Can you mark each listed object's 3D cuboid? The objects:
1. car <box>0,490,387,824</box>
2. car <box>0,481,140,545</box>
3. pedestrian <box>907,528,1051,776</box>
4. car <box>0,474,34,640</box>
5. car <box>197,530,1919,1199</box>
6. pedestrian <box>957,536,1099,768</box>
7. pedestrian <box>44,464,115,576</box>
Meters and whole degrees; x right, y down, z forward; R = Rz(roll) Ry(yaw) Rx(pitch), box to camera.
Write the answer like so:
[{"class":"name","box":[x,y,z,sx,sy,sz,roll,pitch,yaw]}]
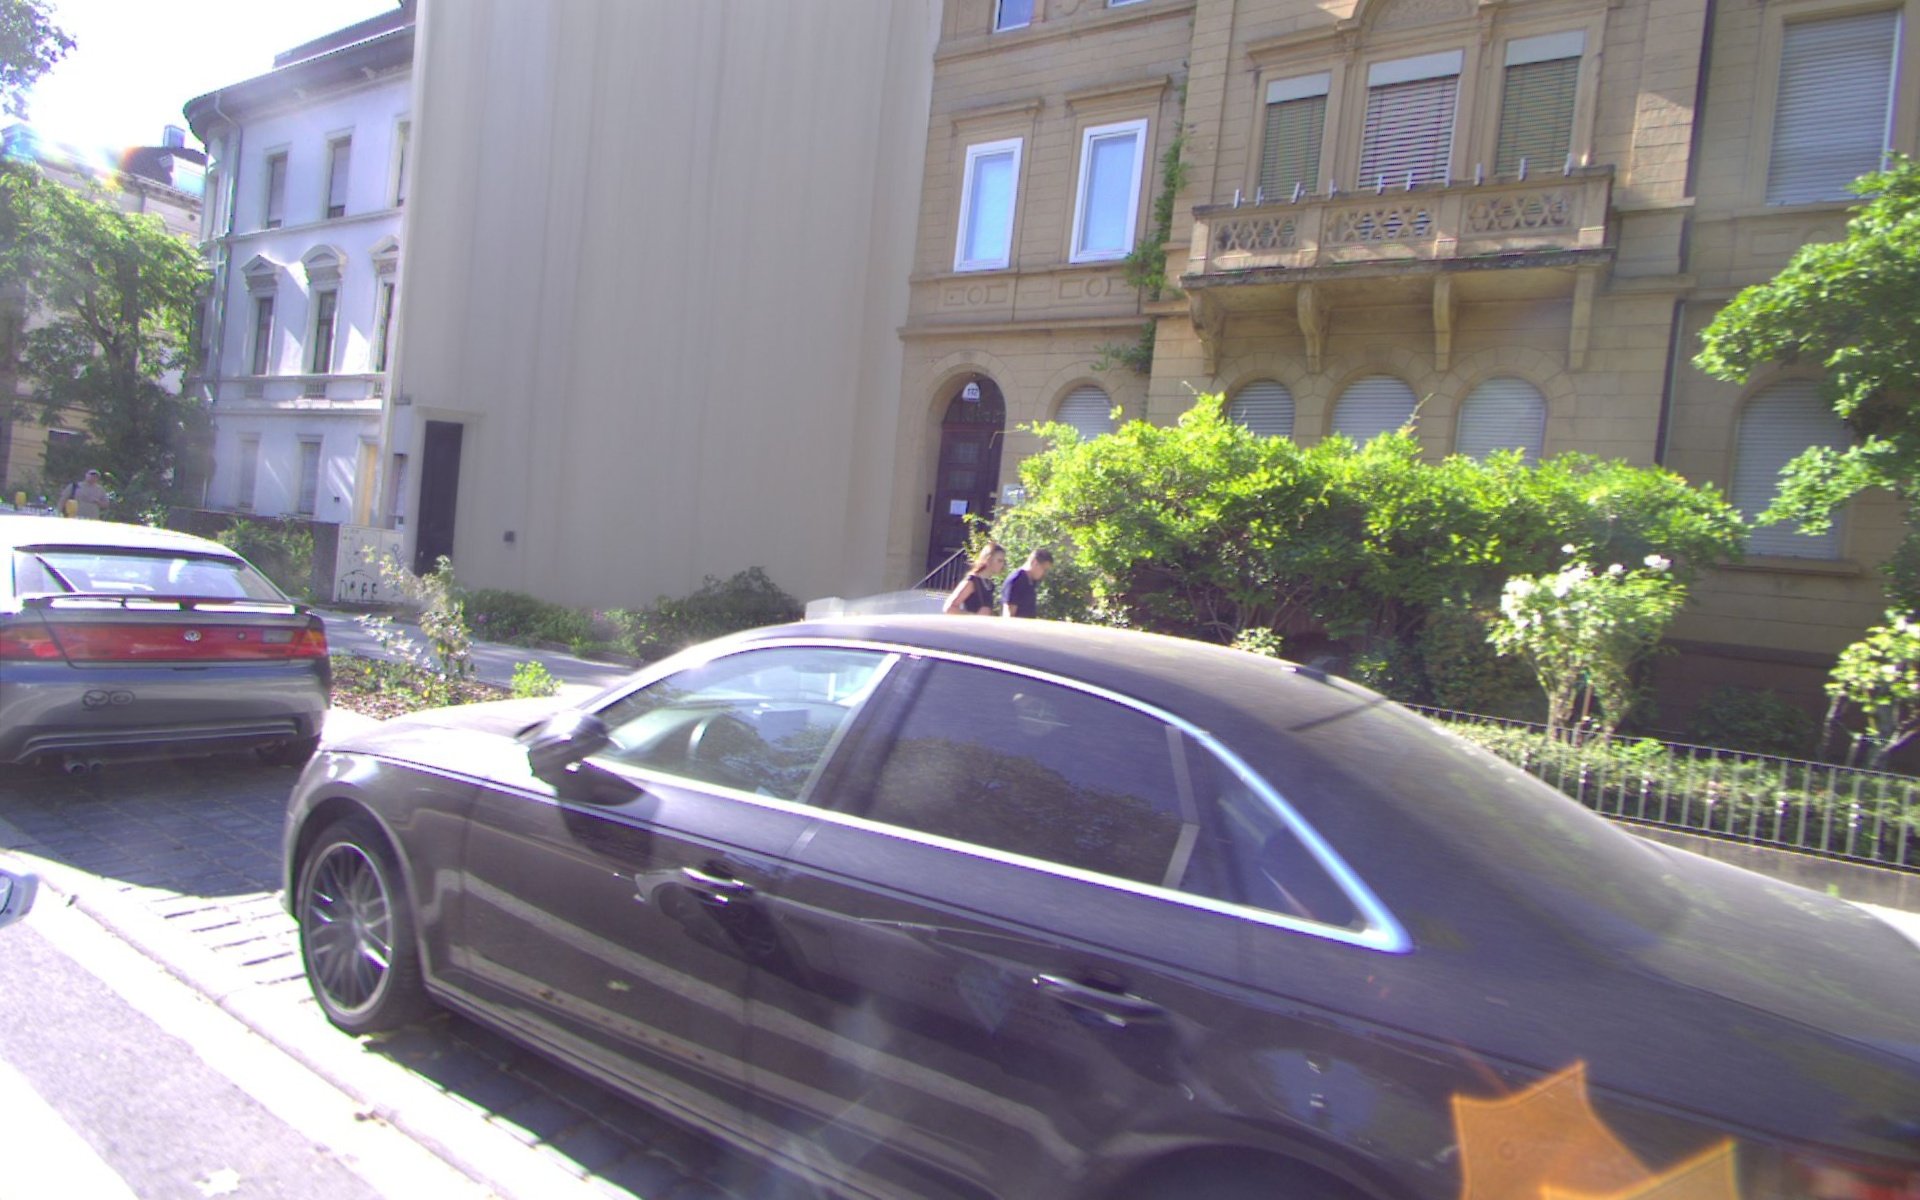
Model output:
[{"class":"car","box":[-5.439,0.105,6.042,3.981,1.431,1.717,7,1,32]},{"class":"car","box":[-31.553,-3.066,35.229,1.842,1.580,3.934,9,0,33]},{"class":"pedestrian","box":[0.156,0.397,7.975,0.703,1.819,0.697,7,1,31]},{"class":"car","box":[-10.580,-0.596,9.573,3.672,1.505,1.620,7,2,32]},{"class":"car","box":[-0.221,0.712,2.943,4.402,1.432,1.716,7,3,32]},{"class":"pedestrian","box":[0.585,0.430,8.571,0.788,1.819,0.697,7,1,31]},{"class":"pedestrian","box":[-15.574,-1.404,17.800,0.683,1.873,0.665,7,1,32]}]
